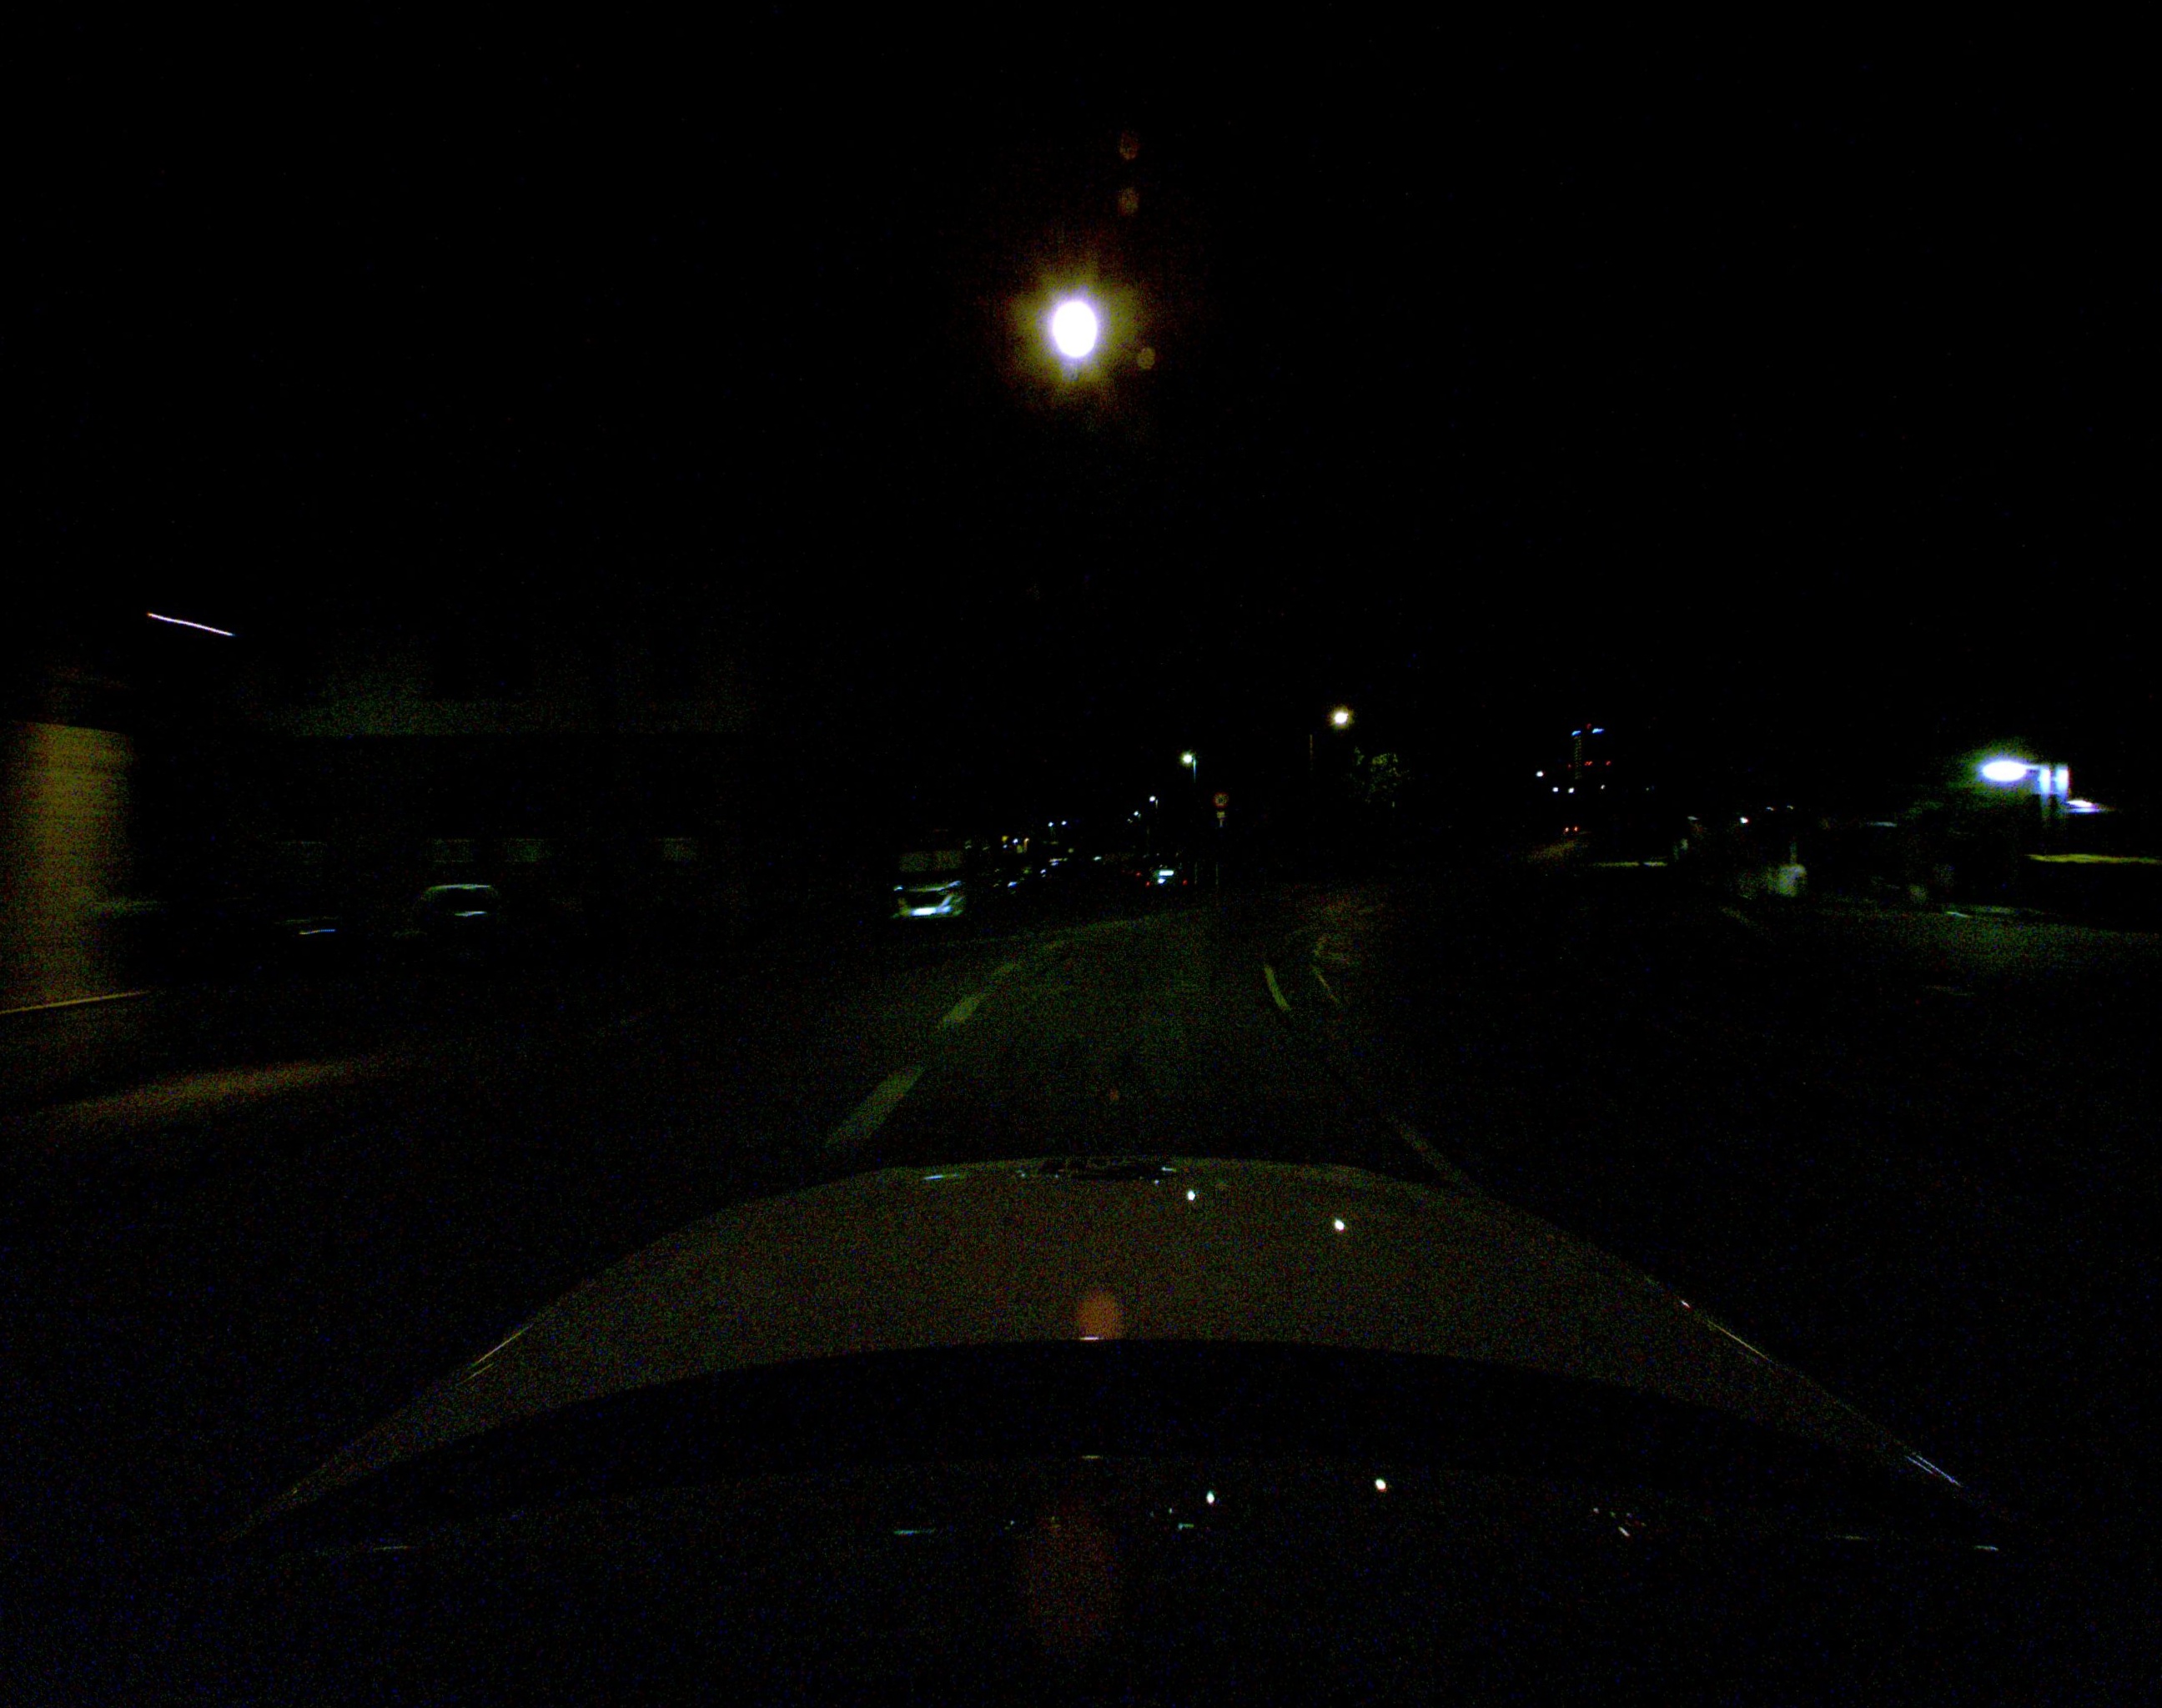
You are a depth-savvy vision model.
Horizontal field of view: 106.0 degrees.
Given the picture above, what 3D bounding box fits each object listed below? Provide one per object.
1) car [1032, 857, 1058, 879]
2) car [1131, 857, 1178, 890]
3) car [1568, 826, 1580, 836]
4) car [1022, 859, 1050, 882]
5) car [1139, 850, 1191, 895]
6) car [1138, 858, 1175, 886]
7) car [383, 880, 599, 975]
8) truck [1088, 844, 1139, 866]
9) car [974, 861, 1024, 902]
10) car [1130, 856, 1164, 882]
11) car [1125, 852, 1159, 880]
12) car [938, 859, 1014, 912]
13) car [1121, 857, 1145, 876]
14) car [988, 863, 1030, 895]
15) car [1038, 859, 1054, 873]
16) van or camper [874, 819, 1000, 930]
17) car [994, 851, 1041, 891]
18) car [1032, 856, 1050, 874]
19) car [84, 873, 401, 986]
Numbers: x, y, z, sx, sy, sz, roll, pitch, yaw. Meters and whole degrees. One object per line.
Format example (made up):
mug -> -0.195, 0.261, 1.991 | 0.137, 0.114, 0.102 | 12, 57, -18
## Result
car -> -2.733, 1.080, 61.884 | 1.671, 1.566, 4.105 | -2, -1, 1
car -> 3.387, 0.900, 38.217 | 1.956, 1.383, 4.001 | -2, -1, 2
car -> 98.654, -4.665, 162.906 | 1.906, 1.854, 4.026 | -2, -1, 34
car -> -3.055, 1.107, 55.921 | 1.699, 1.510, 4.100 | -1, -1, 0
car -> 3.342, 0.726, 33.095 | 1.876, 1.603, 4.111 | -3, -1, 3
car -> 4.005, 0.931, 43.738 | 1.692, 1.392, 3.628 | -2, -1, 2
car -> -10.607, 1.289, 14.771 | 2.799, 1.513, 1.489 | -2, -1, 1
truck -> 4.394, 0.082, 110.571 | 6.758, 2.844, 1.999 | -1, 0, -2
car -> -3.363, 1.067, 33.618 | 1.836, 1.507, 4.733 | -2, 0, -5
car -> 4.039, 0.903, 50.567 | 1.873, 1.415, 4.475 | -4, 0, 2
car -> 4.103, 0.813, 55.892 | 2.032, 1.694, 4.883 | -4, -1, 2
car -> -3.526, 1.008, 28.137 | 1.885, 1.591, 4.375 | -3, 0, 1
car -> 4.260, 0.981, 67.136 | 1.752, 1.445, 4.026 | -2, 0, 0
car -> -3.356, 1.145, 38.660 | 1.687, 1.398, 4.076 | -2, -1, -2
car -> -3.955, 1.347, 92.514 | 1.602, 1.516, 3.807 | -2, -1, 0
van or camper -> -3.770, 0.516, 22.720 | 2.151, 2.535, 6.227 | -4, -1, 1
car -> -3.353, 0.881, 43.817 | 1.986, 1.955, 4.807 | -2, 0, 1
car -> -4.264, 1.177, 86.441 | 1.632, 1.760, 3.963 | -2, -1, 0
car -> -14.791, 1.289, 14.517 | 3.856, 1.766, 1.719 | -2, -1, 1
